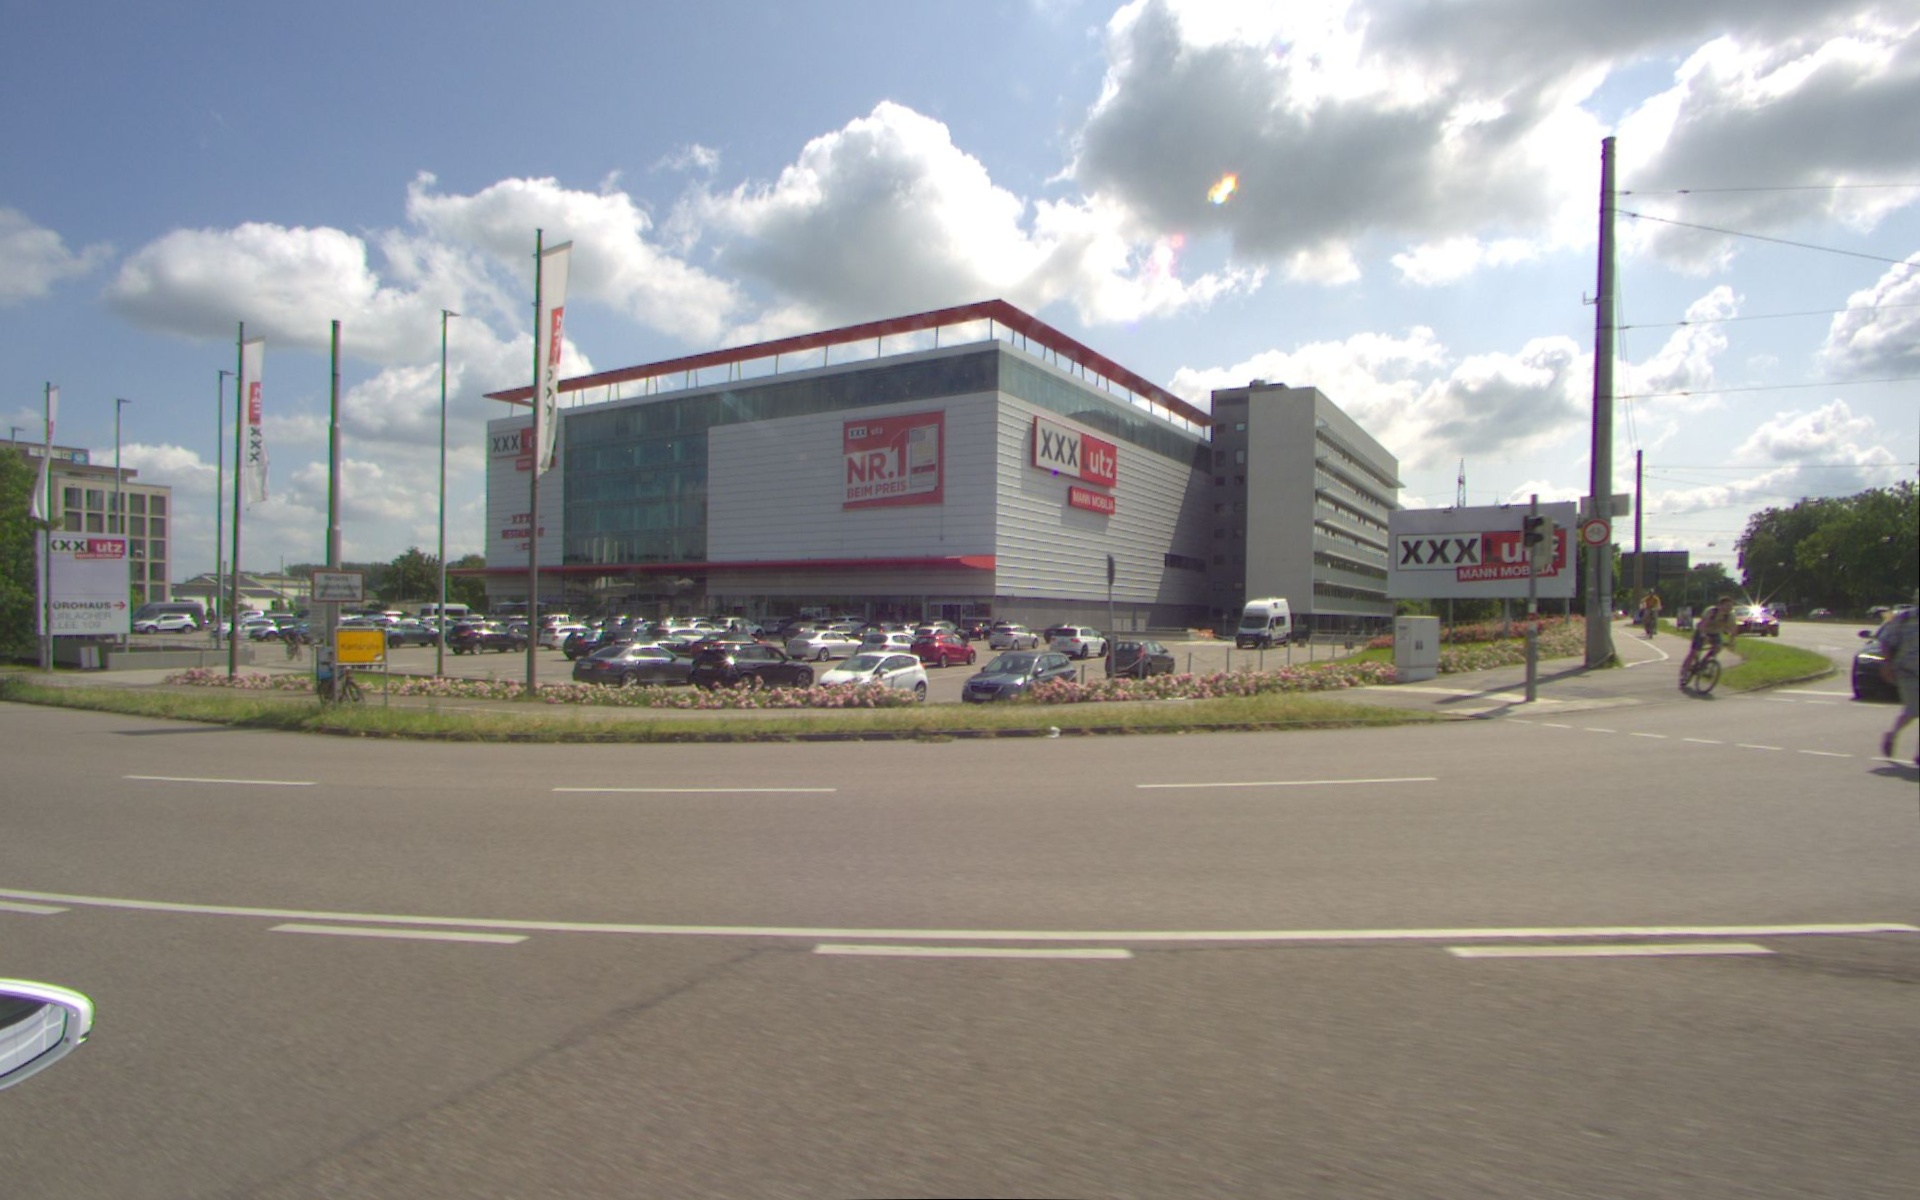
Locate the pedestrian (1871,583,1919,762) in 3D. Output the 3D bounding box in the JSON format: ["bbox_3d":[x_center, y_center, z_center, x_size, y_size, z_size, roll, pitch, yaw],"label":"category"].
[{"bbox_3d":[9.622,0.709,10.025,0.693,1.750,0.683,-2,-1,44],"label":"pedestrian"}]

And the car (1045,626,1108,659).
[{"bbox_3d":[6.135,2.200,52.345,1.825,1.608,4.221,0,-1,29],"label":"car"}]

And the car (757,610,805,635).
[{"bbox_3d":[-15.386,1.940,86.172,1.971,2.039,3.982,0,-2,31],"label":"car"}]

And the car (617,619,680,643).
[{"bbox_3d":[-22.426,2.197,72.145,1.826,1.609,4.218,0,0,31],"label":"car"}]

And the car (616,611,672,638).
[{"bbox_3d":[-25.359,1.996,80.486,1.971,2.039,3.981,0,-2,32],"label":"car"}]

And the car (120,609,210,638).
[{"bbox_3d":[-67.449,2.036,85.040,2.031,2.396,5.652,-1,-2,31],"label":"car"}]

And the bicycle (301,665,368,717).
[{"bbox_3d":[-12.270,1.770,19.638,1.522,0.964,0.516,-1,-2,33],"label":"bicycle"}]

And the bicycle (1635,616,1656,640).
[{"bbox_3d":[28.472,1.154,41.616,0.656,0.973,1.687,0,-1,33],"label":"bicycle"}]

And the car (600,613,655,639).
[{"bbox_3d":[-27.315,2.162,82.406,1.971,2.039,3.981,0,-2,32],"label":"car"}]

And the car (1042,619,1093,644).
[{"bbox_3d":[7.687,2.243,71.233,1.973,1.761,3.978,0,-2,34],"label":"car"}]

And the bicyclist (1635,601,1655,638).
[{"bbox_3d":[28.504,0.808,41.658,0.642,1.494,0.739,1,-1,33],"label":"bicyclist"}]

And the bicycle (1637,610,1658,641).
[{"bbox_3d":[27.021,1.003,39.320,0.613,1.180,1.495,0,-1,37],"label":"bicycle"}]

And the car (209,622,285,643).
[{"bbox_3d":[-52.647,2.407,74.024,1.864,1.408,4.178,0,0,29],"label":"car"}]

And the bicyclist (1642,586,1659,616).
[{"bbox_3d":[31.749,0.063,46.066,0.585,1.343,0.682,0,-1,40],"label":"bicyclist"}]

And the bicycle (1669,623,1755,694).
[{"bbox_3d":[13.837,1.056,18.485,0.498,1.063,1.692,2,5,11],"label":"bicycle"}]

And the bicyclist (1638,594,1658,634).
[{"bbox_3d":[27.044,0.544,39.332,0.612,1.555,0.693,0,-1,37],"label":"bicyclist"}]

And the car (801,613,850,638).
[{"bbox_3d":[-11.217,2.144,83.500,1.971,2.039,3.982,0,-2,31],"label":"car"}]

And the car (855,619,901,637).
[{"bbox_3d":[-6.568,2.280,80.529,1.694,1.361,3.856,0,-2,32],"label":"car"}]

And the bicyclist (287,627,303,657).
[{"bbox_3d":[-32.282,2.013,48.636,0.608,1.431,0.711,1,0,-31],"label":"bicyclist"}]

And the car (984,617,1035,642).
[{"bbox_3d":[3.722,2.180,74.405,1.973,1.761,3.978,0,-2,34],"label":"car"}]

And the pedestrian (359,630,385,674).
[{"bbox_3d":[-24.272,2.143,41.332,0.859,1.805,0.781,1,-1,-27],"label":"pedestrian"}]

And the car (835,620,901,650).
[{"bbox_3d":[-5.642,2.163,61.579,1.973,1.761,3.977,-1,-2,34],"label":"car"}]

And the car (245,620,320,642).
[{"bbox_3d":[-48.503,2.237,71.742,1.970,1.591,3.983,-1,-2,30],"label":"car"}]

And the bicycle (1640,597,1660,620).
[{"bbox_3d":[31.796,0.397,46.142,0.590,0.973,1.973,0,-2,39],"label":"bicycle"}]

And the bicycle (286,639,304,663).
[{"bbox_3d":[-32.277,2.480,48.624,0.616,1.082,1.957,0,0,-31],"label":"bicycle"}]

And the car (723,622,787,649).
[{"bbox_3d":[-12.864,2.198,62.961,1.670,1.608,4.009,1,-1,31],"label":"car"}]

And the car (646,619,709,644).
[{"bbox_3d":[-19.817,2.206,70.430,1.826,1.609,4.218,0,0,31],"label":"car"}]

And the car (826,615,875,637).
[{"bbox_3d":[-8.915,2.136,82.080,1.971,1.745,3.982,0,-2,31],"label":"car"}]

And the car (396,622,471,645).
[{"bbox_3d":[-35.829,2.305,68.280,1.734,1.483,4.234,0,-2,31],"label":"car"}]

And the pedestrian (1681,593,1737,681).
[{"bbox_3d":[13.830,0.675,18.499,0.497,1.558,0.685,1,4,9],"label":"pedestrian"}]

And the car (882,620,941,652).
[{"bbox_3d":[-3.153,2.355,65.739,1.972,2.039,3.979,-1,-2,33],"label":"car"}]

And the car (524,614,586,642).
[{"bbox_3d":[-30.865,2.171,76.441,1.972,2.039,3.980,0,-2,33],"label":"car"}]

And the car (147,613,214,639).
[{"bbox_3d":[-64.681,2.151,83.164,1.972,2.040,3.978,0,0,33],"label":"car"}]
